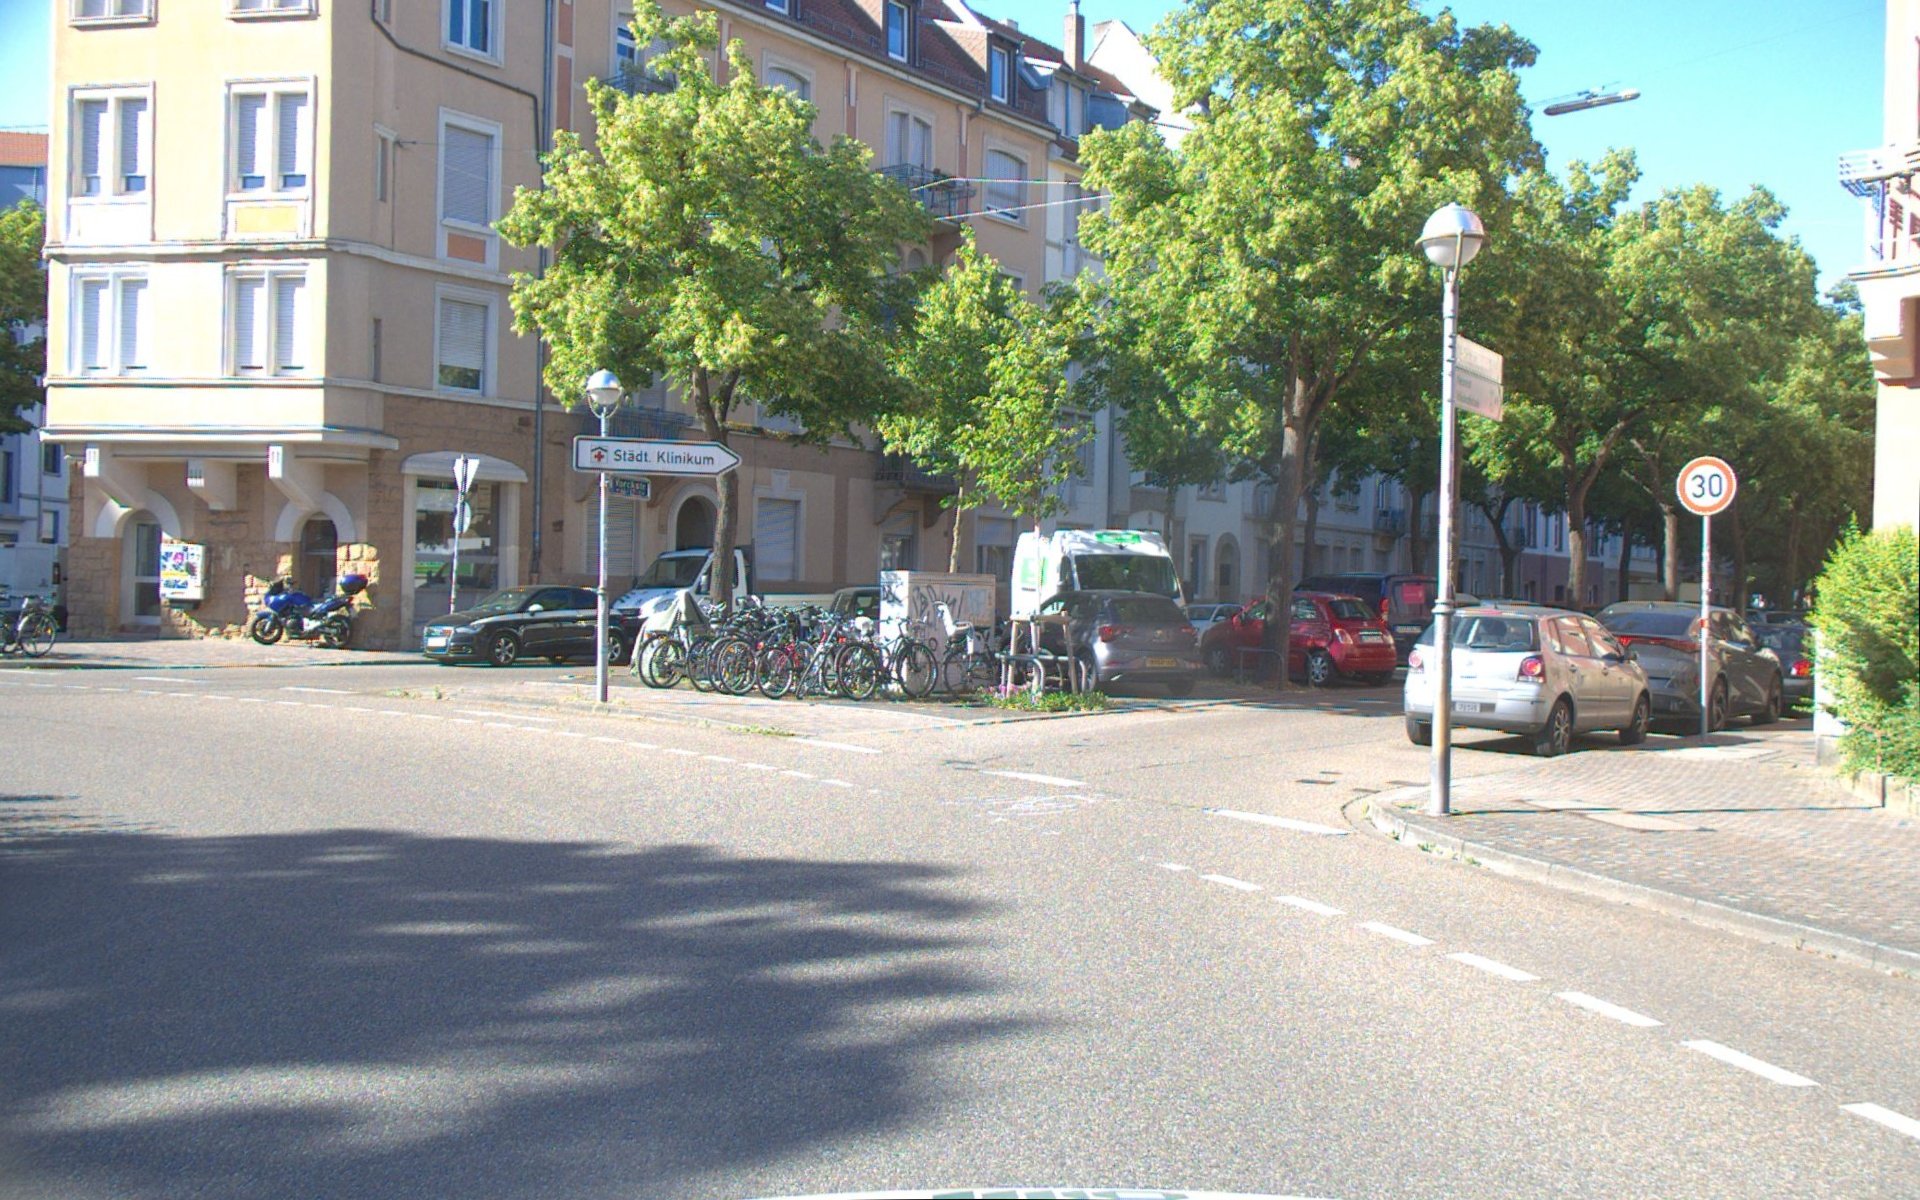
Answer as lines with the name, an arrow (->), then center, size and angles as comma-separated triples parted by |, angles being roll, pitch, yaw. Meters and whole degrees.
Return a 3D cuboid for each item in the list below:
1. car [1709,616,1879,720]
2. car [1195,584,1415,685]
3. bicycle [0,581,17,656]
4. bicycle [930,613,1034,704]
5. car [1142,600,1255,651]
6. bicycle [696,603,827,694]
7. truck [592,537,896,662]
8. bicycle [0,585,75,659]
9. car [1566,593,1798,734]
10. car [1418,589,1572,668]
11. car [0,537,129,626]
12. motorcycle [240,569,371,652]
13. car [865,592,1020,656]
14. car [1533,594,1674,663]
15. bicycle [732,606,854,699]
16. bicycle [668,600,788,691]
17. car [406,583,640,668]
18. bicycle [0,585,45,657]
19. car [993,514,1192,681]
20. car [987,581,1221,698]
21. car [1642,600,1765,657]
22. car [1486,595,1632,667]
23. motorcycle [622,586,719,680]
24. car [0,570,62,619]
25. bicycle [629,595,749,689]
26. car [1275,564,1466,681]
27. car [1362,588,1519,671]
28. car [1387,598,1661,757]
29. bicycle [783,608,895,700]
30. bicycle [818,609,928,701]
car -> 12.918, 0.991, 25.534 | 1.657, 1.405, 3.265 | 3, 1, 39
car -> 5.736, 0.546, 27.766 | 1.669, 1.471, 3.341 | 1, 1, -36
bicycle -> -15.875, 0.297, 26.418 | 0.440, 1.212, 1.698 | 1, 0, 9
bicycle -> 0.297, 0.735, 21.422 | 0.412, 1.105, 1.517 | 3, 2, 42
car -> 6.944, 0.712, 47.964 | 1.654, 1.414, 3.907 | 0, 0, 36
bicycle -> -2.589, 0.617, 21.717 | 0.645, 1.107, 1.720 | 3, 2, 40
truck -> -4.283, 0.006, 34.119 | 2.100, 2.332, 6.586 | 0, 0, 40
bicycle -> -14.930, 0.343, 26.327 | 0.471, 1.143, 1.720 | 1, 0, 12
car -> 9.508, 0.765, 21.610 | 1.657, 1.589, 4.273 | 3, 1, 39
car -> 11.429, 0.572, 35.536 | 1.653, 1.495, 3.374 | 2, 1, -12
car -> -21.373, -0.416, 38.792 | 2.096, 1.942, 4.550 | 1, 0, -10
motorcycle -> -12.343, 0.182, 31.210 | 2.196, 1.435, 0.701 | 3, 1, 9
car -> -0.350, 0.533, 38.638 | 1.654, 1.414, 3.907 | 0, 0, 36
car -> 15.811, 0.671, 40.800 | 1.653, 1.495, 3.374 | 2, 1, -12
bicycle -> -2.133, 0.654, 21.259 | 0.491, 1.121, 1.640 | 3, 2, 42
bicycle -> -3.099, 0.591, 22.199 | 0.579, 1.146, 1.593 | 3, 2, 40
car -> -7.722, 0.430, 29.509 | 1.654, 1.414, 3.907 | 0, 0, 36
bicycle -> -15.438, 0.335, 26.414 | 0.471, 1.143, 1.698 | 1, 0, 9
car -> 2.230, -0.115, 30.041 | 2.058, 2.645, 6.363 | 2, 1, -9
car -> 2.012, 0.527, 24.233 | 1.661, 1.471, 3.892 | 2, 1, -25
car -> 22.151, 0.831, 49.404 | 1.653, 1.495, 3.374 | 2, 1, -12
car -> 13.970, 0.690, 38.737 | 1.653, 1.495, 3.374 | 2, 1, -12
motorcycle -> -4.307, 0.469, 24.542 | 0.534, 1.292, 1.683 | 0, 2, -45
car -> -30.502, -0.204, 52.892 | 1.663, 1.512, 3.766 | 1, 0, -4
bicycle -> -3.702, 0.554, 22.681 | 0.528, 1.213, 1.670 | 3, 2, 40
car -> 7.297, 0.358, 29.692 | 1.658, 1.897, 3.364 | 2, 1, -21
car -> 9.741, 0.560, 33.776 | 1.653, 1.495, 3.374 | 2, 1, -12
car -> 6.163, 0.760, 17.871 | 1.657, 1.471, 3.528 | 3, 1, 39
bicycle -> -1.532, 0.666, 21.145 | 0.412, 1.108, 1.564 | 3, 2, 42
bicycle -> -1.092, 0.680, 20.948 | 0.412, 1.105, 1.517 | 3, 2, 42
